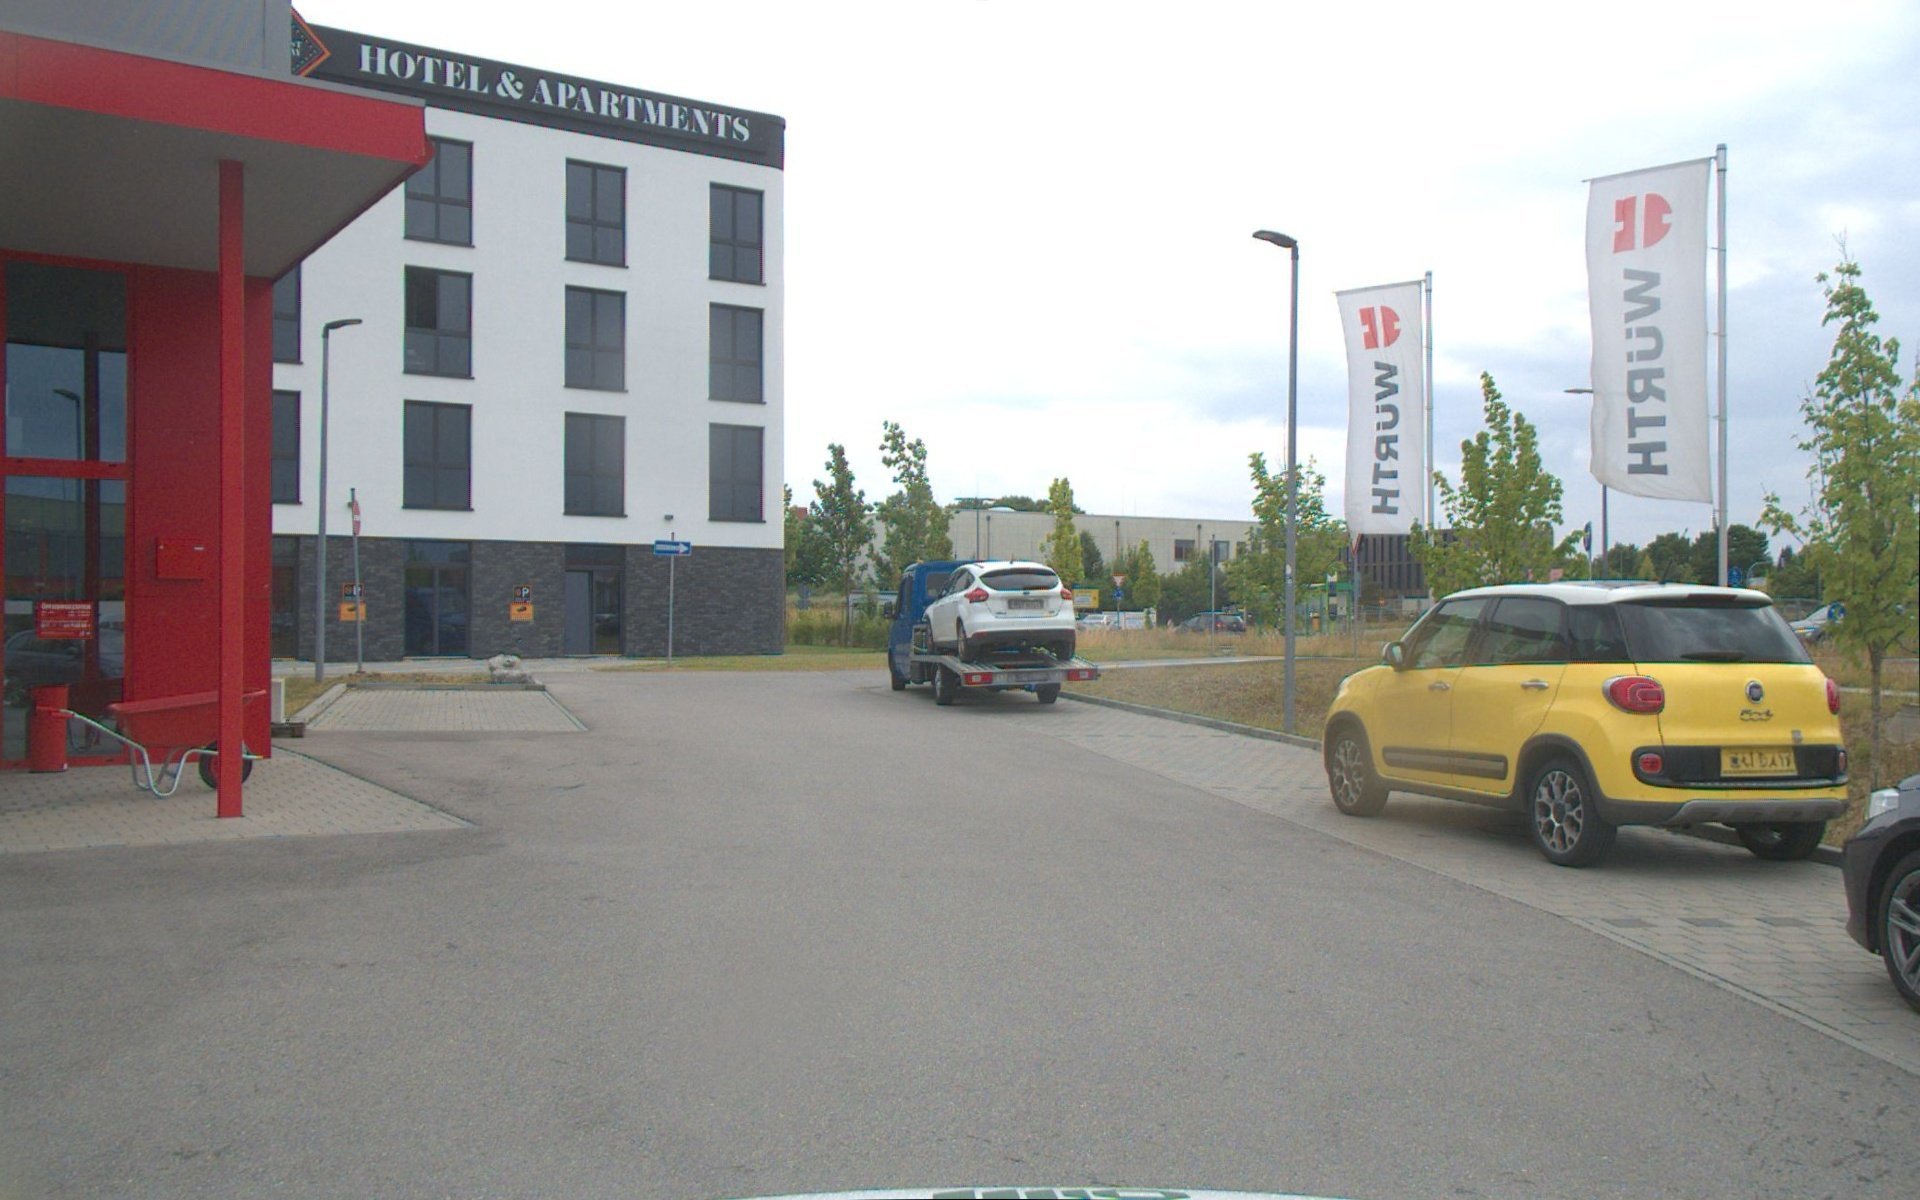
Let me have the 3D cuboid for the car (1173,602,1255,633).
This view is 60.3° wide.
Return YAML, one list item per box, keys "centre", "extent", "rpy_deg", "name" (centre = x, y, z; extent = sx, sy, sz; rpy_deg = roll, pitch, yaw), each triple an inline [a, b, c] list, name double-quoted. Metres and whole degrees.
- centre: [10.677, 0.706, 69.747]
  extent: [1.690, 1.246, 3.974]
  rpy_deg: [0, 0, -21]
  name: "car"

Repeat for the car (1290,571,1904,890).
- centre: [3.969, 0.715, 11.190]
  extent: [1.718, 1.713, 4.282]
  rpy_deg: [1, 0, -14]
  name: "car"

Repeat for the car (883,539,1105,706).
- centre: [0.328, 0.369, 27.480]
  extent: [2.154, 2.363, 7.836]
  rpy_deg: [0, -1, -11]
  name: "car"

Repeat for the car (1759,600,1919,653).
- centre: [25.668, 0.760, 48.145]
  extent: [4.234, 1.492, 1.791]
  rpy_deg: [0, 0, -15]
  name: "car"

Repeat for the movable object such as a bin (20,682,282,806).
- centre: [-5.617, 0.974, 11.501]
  extent: [1.565, 0.728, 0.794]
  rpy_deg: [0, 0, -33]
  name: "movable object such as a bin"

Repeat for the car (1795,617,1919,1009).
- centre: [4.575, 0.801, 4.837]
  extent: [1.714, 1.440, 4.299]
  rpy_deg: [1, 0, -7]
  name: "car"

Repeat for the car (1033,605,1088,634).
- centre: [5.153, 0.972, 85.002]
  extent: [1.541, 1.445, 3.472]
  rpy_deg: [0, 0, -21]
  name: "car"

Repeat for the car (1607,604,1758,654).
- centre: [20.519, 0.787, 47.121]
  extent: [1.689, 1.347, 3.977]
  rpy_deg: [0, 0, -20]
  name: "car"
